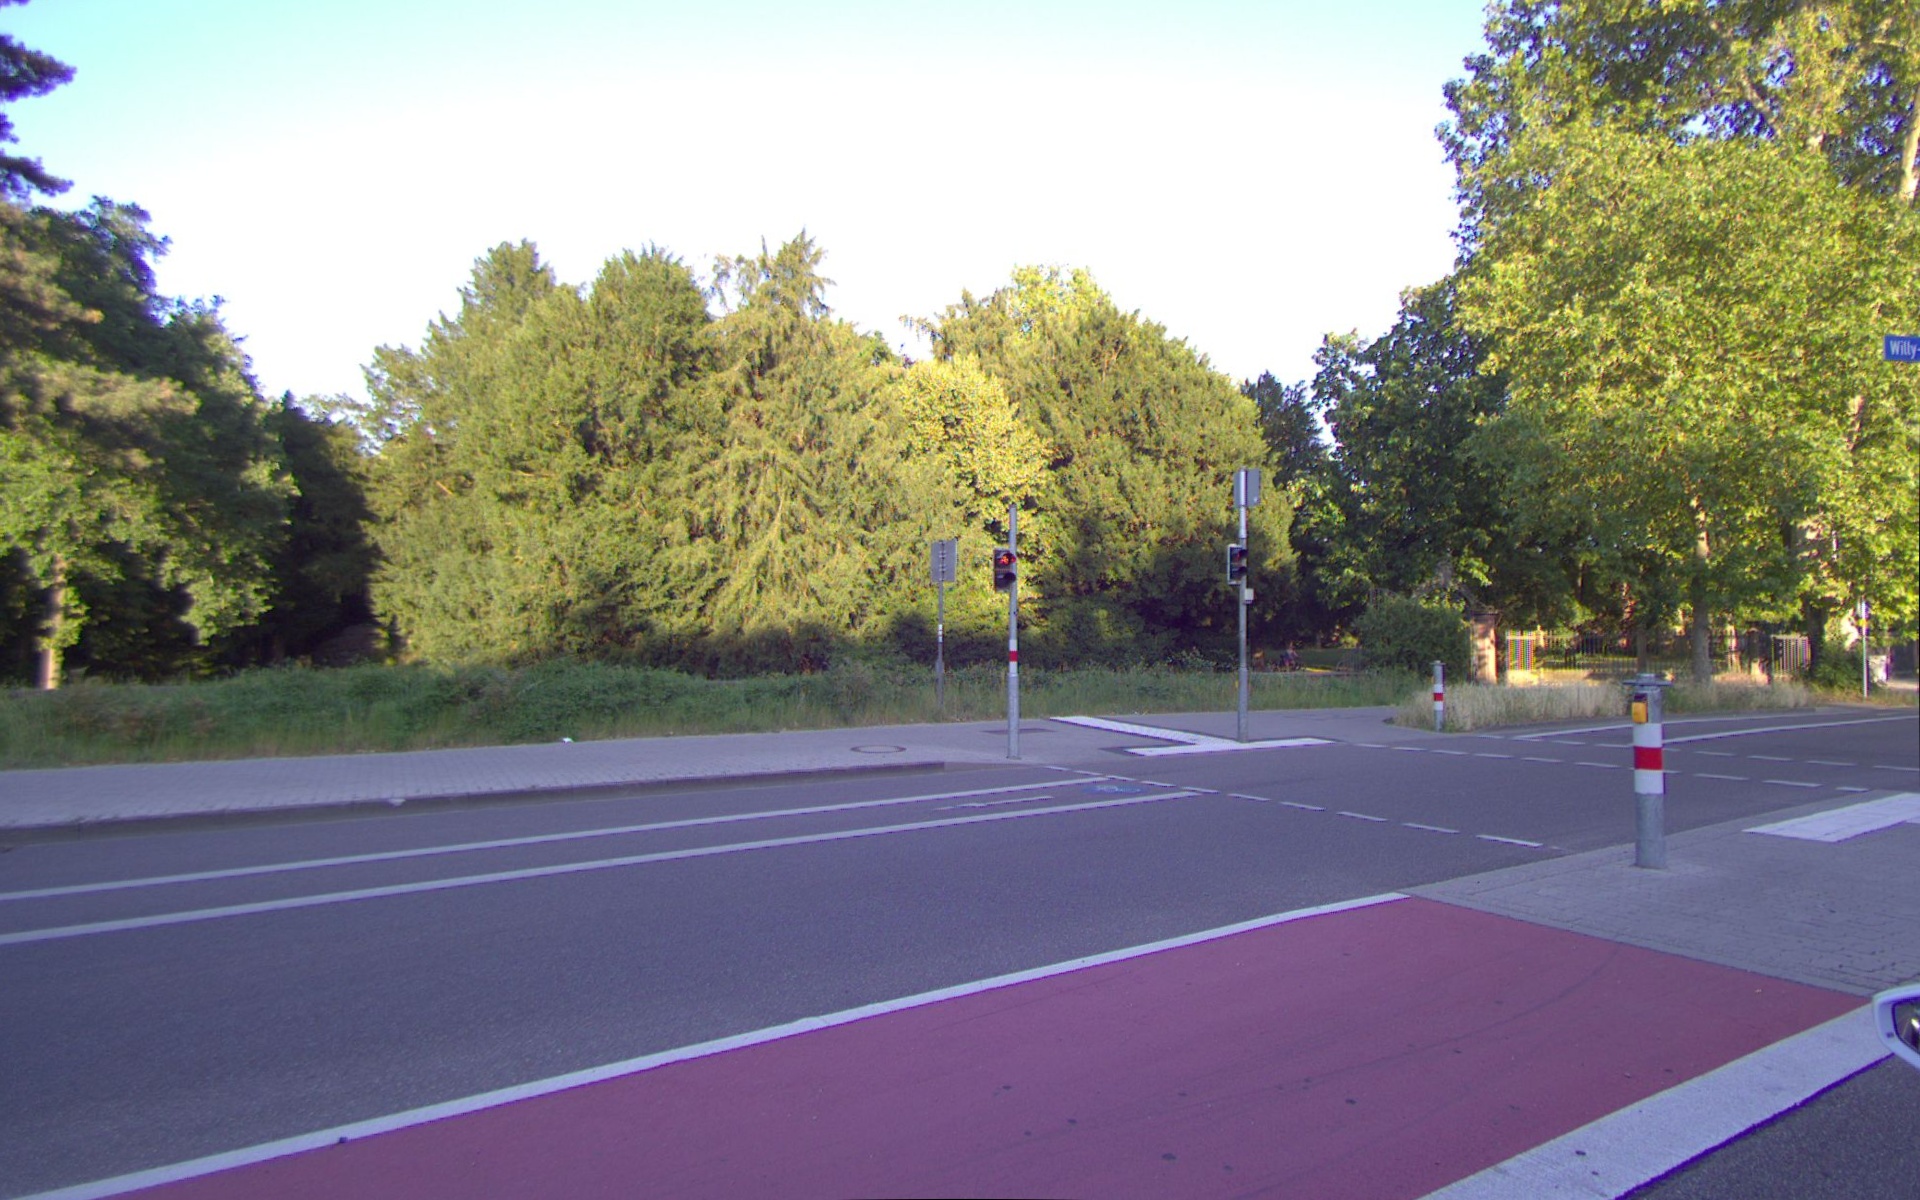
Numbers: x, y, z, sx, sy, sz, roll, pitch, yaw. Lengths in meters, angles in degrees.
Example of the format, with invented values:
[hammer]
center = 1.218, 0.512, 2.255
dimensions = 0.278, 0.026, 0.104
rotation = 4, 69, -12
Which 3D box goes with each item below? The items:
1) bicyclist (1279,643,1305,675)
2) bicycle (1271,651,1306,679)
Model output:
[bicyclist]
center = 15.282, 2.700, 46.253
dimensions = 0.777, 1.445, 0.891
rotation = 1, -2, -9
[bicycle]
center = 15.227, 3.000, 46.604
dimensions = 0.777, 1.273, 1.978
rotation = 1, -2, -7
